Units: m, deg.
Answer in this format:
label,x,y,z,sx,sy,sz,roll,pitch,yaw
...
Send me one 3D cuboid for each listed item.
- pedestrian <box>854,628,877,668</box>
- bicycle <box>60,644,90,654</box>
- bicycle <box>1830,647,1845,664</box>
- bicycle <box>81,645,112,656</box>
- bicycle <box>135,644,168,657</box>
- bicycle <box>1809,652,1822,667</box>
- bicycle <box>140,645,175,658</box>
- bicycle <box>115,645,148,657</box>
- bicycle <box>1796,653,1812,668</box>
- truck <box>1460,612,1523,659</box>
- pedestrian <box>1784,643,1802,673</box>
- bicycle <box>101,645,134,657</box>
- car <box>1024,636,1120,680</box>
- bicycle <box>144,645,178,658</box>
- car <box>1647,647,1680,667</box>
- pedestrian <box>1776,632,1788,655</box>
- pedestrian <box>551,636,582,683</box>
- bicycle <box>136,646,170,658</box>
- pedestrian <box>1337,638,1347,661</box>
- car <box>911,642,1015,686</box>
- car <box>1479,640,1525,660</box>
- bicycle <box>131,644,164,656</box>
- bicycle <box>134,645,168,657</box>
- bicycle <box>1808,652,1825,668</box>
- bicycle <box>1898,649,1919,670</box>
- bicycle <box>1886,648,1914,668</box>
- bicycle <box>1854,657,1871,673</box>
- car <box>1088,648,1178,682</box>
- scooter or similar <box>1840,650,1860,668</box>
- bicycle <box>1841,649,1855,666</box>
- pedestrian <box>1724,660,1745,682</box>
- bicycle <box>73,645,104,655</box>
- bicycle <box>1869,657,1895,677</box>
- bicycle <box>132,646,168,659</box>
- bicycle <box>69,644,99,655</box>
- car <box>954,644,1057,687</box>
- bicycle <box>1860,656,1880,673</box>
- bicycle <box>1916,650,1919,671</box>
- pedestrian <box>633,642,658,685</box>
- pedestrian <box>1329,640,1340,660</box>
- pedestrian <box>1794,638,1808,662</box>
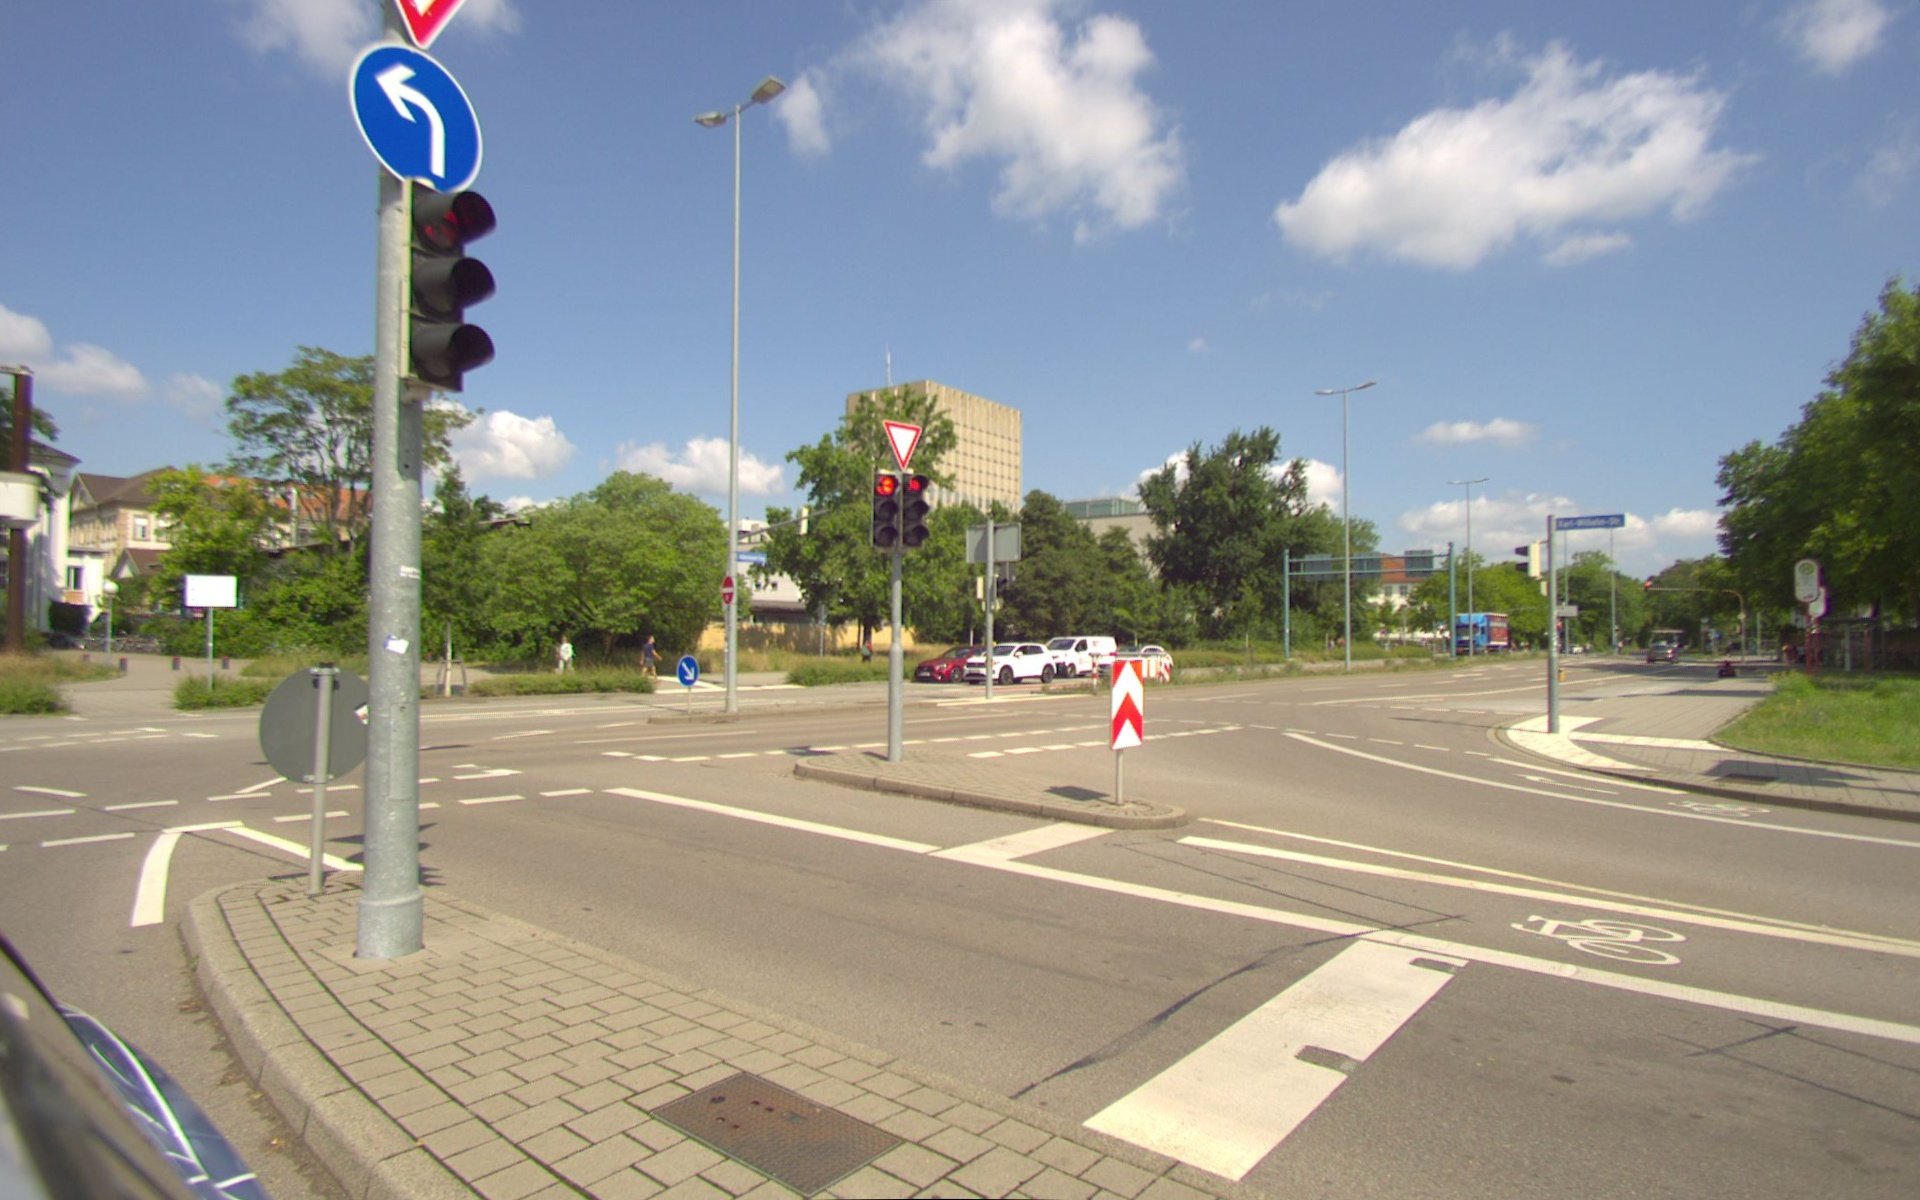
label,x,y,z,sx,sy,sz,roll,pitch,yaw
pedestrian,-4.096,2.079,44.026,0.669,1.749,0.745,2,-3,-45
bicycle,-61.898,3.433,70.761,0.509,0.725,1.537,-2,-3,44
bicycle,56.291,3.562,64.907,0.393,1.056,1.861,-1,-3,31
bicycle,-57.358,3.338,67.234,0.509,0.725,1.537,-2,-3,44
bicycle,-49.397,3.087,61.833,0.509,0.725,1.537,-2,-3,44
bicycle,61.309,4.253,72.510,0.370,1.056,1.861,-1,-3,31
bicycle,-47.187,3.020,59.521,0.509,0.725,1.537,-2,-3,44
bicycle,-52.212,3.191,63.787,0.509,0.725,1.537,-2,-3,44
bicycle,63.972,4.583,76.739,0.629,1.056,1.861,-1,-3,31
truck,45.667,3.066,86.801,2.665,3.828,9.064,-2,-3,41
pedestrian,44.338,3.082,53.872,0.658,1.622,0.734,-3,-4,42
bicycle,-53.642,3.261,64.456,0.509,0.725,1.537,-2,-3,44
car,5.164,2.632,46.260,1.948,1.884,4.757,-2,-3,42
bicycle,-47.464,3.057,60.137,0.509,0.725,1.537,-2,-3,44
car,54.444,4.360,78.292,1.705,1.456,4.089,0,-2,40
pedestrian,60.438,3.222,74.420,0.561,1.664,0.718,-2,-3,35
pedestrian,-14.230,2.132,36.586,0.871,1.651,0.710,-2,-3,43
bicycle,-48.669,3.134,61.043,0.509,0.725,1.537,-2,-3,44
pedestrian,31.407,4.076,83.207,0.568,1.815,0.630,-2,-4,41
car,0.172,2.536,40.703,1.686,1.654,4.401,-3,-4,41
car,58.928,5.408,110.021,1.965,2.029,4.013,1,-2,-23
bicycle,-50.366,3.115,62.772,0.509,0.725,1.537,-2,-3,44
bicycle,-49.805,3.117,62.315,0.509,0.725,1.537,-2,-3,44
bicycle,59.919,4.185,70.788,0.591,1.056,1.861,-1,-3,31
bicycle,50.577,3.137,53.709,0.580,1.081,1.741,-1,-3,24
bicycle,51.461,3.176,55.436,0.581,1.081,1.741,-1,-3,25
bicycle,54.532,3.934,61.172,0.365,0.962,1.390,-1,-3,25
car,7.631,2.812,44.461,1.910,1.435,4.323,-2,-3,42
scooter or similar,55.340,3.659,62.964,0.580,1.056,1.861,-1,-3,31
bicycle,53.467,3.451,60.935,1.599,0.962,0.368,2,-4,-40
pedestrian,34.647,3.161,45.282,0.696,0.970,0.733,-3,-4,40
bicycle,-60.100,3.447,69.804,0.509,0.725,1.537,-2,-3,44
bicycle,52.727,3.811,57.898,0.581,1.081,1.741,-1,-3,25
bicycle,-46.817,3.024,58.514,0.509,0.725,1.537,-2,-3,44
bicycle,-60.972,3.442,70.434,0.509,0.725,1.537,-2,-3,44
car,1.761,2.454,38.197,1.796,1.551,3.955,-4,-5,42
bicycle,53.783,3.796,59.815,0.369,0.962,1.613,-1,-3,25
bicycle,49.840,3.098,51.827,0.579,1.081,1.744,-1,-3,19
pedestrian,-11.220,2.269,36.118,0.543,1.519,0.773,2,-4,-43
pedestrian,30.953,4.135,83.618,0.625,1.593,0.698,-2,-4,41
pedestrian,58.492,3.454,70.364,0.641,1.664,0.722,-2,-3,35
